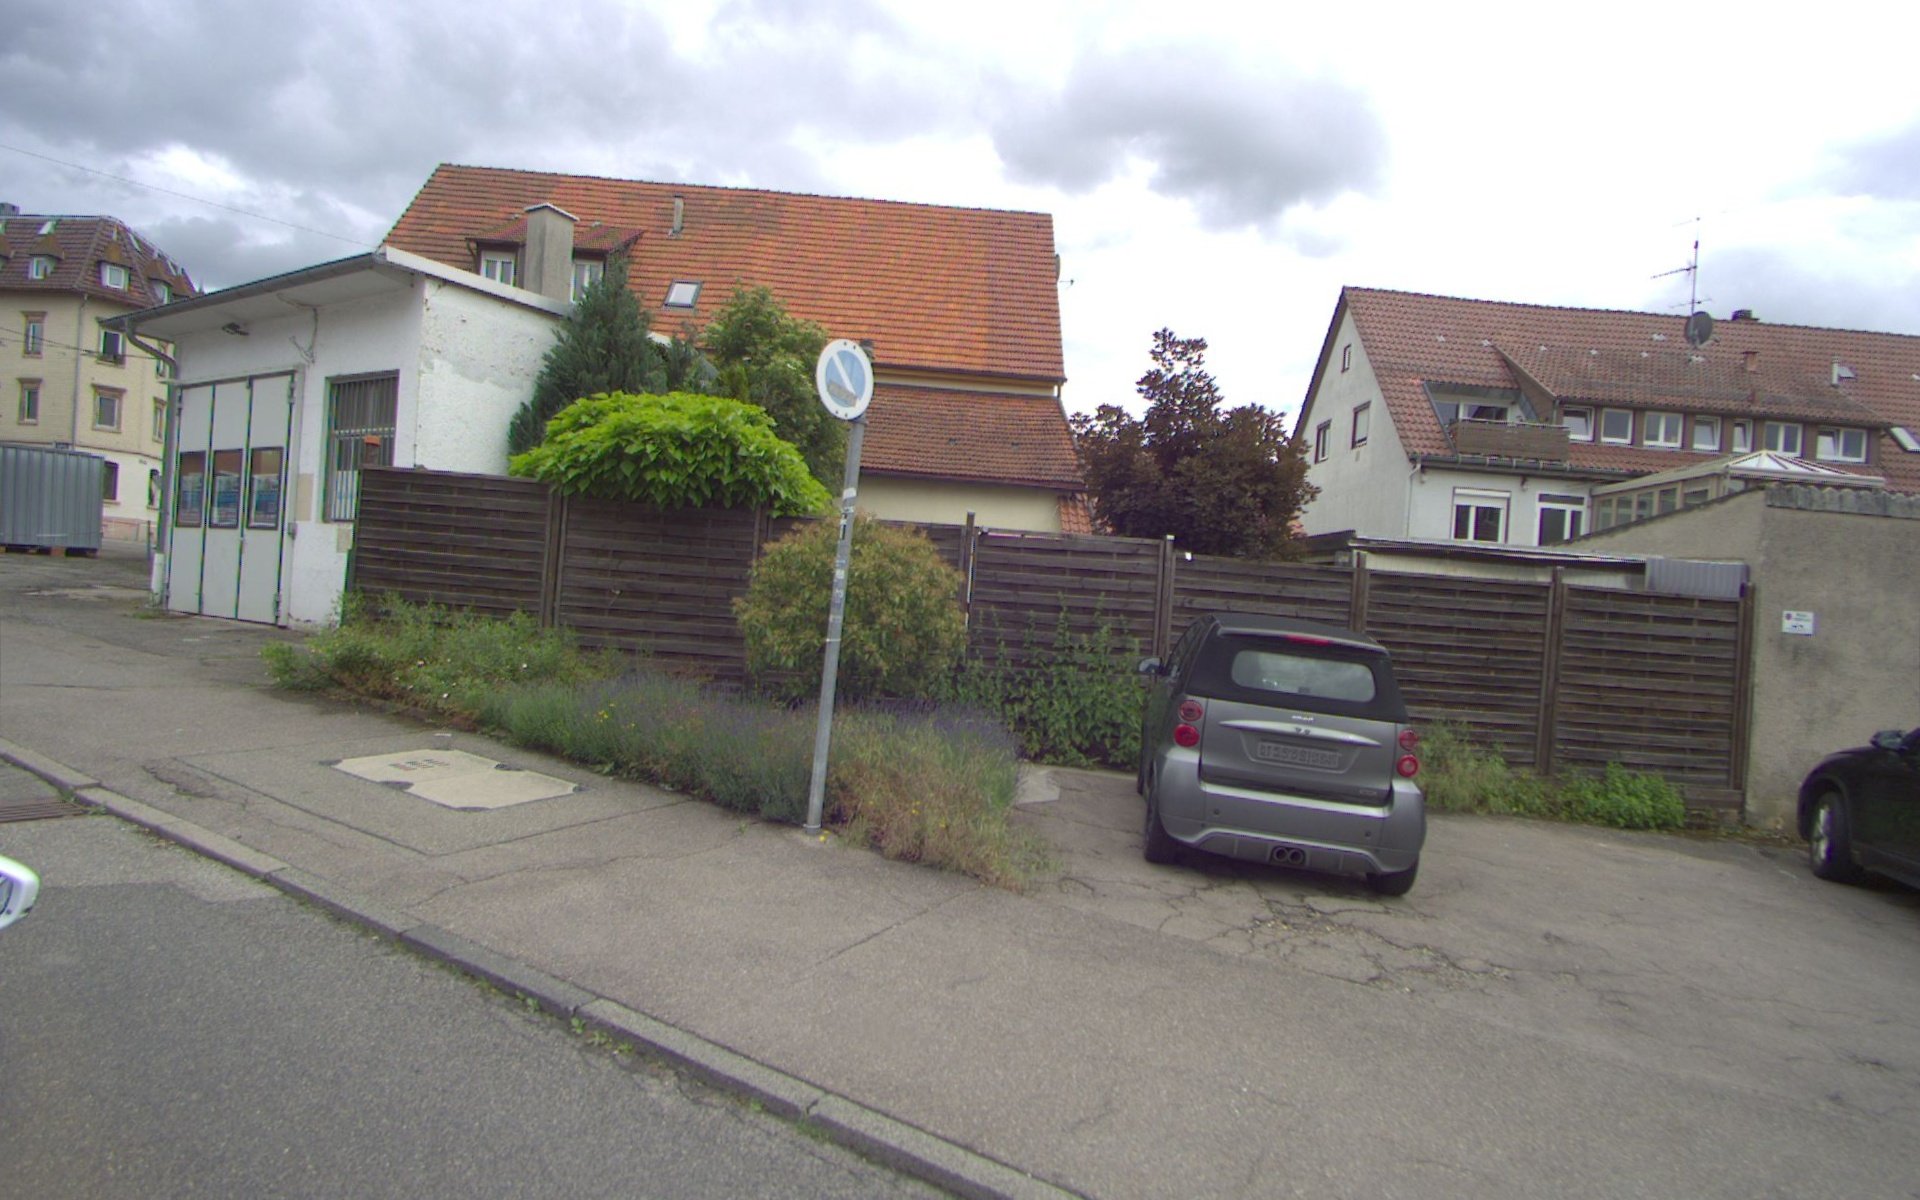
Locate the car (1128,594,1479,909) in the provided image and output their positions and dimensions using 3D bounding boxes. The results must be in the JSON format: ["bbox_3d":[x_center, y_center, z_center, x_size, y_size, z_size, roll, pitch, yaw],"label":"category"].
[{"bbox_3d":[2.148,0.831,7.207,1.671,1.539,3.323,6,1,9],"label":"car"}]

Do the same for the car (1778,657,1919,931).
[{"bbox_3d":[6.983,1.344,5.972,1.869,1.675,4.123,7,1,20],"label":"car"}]
